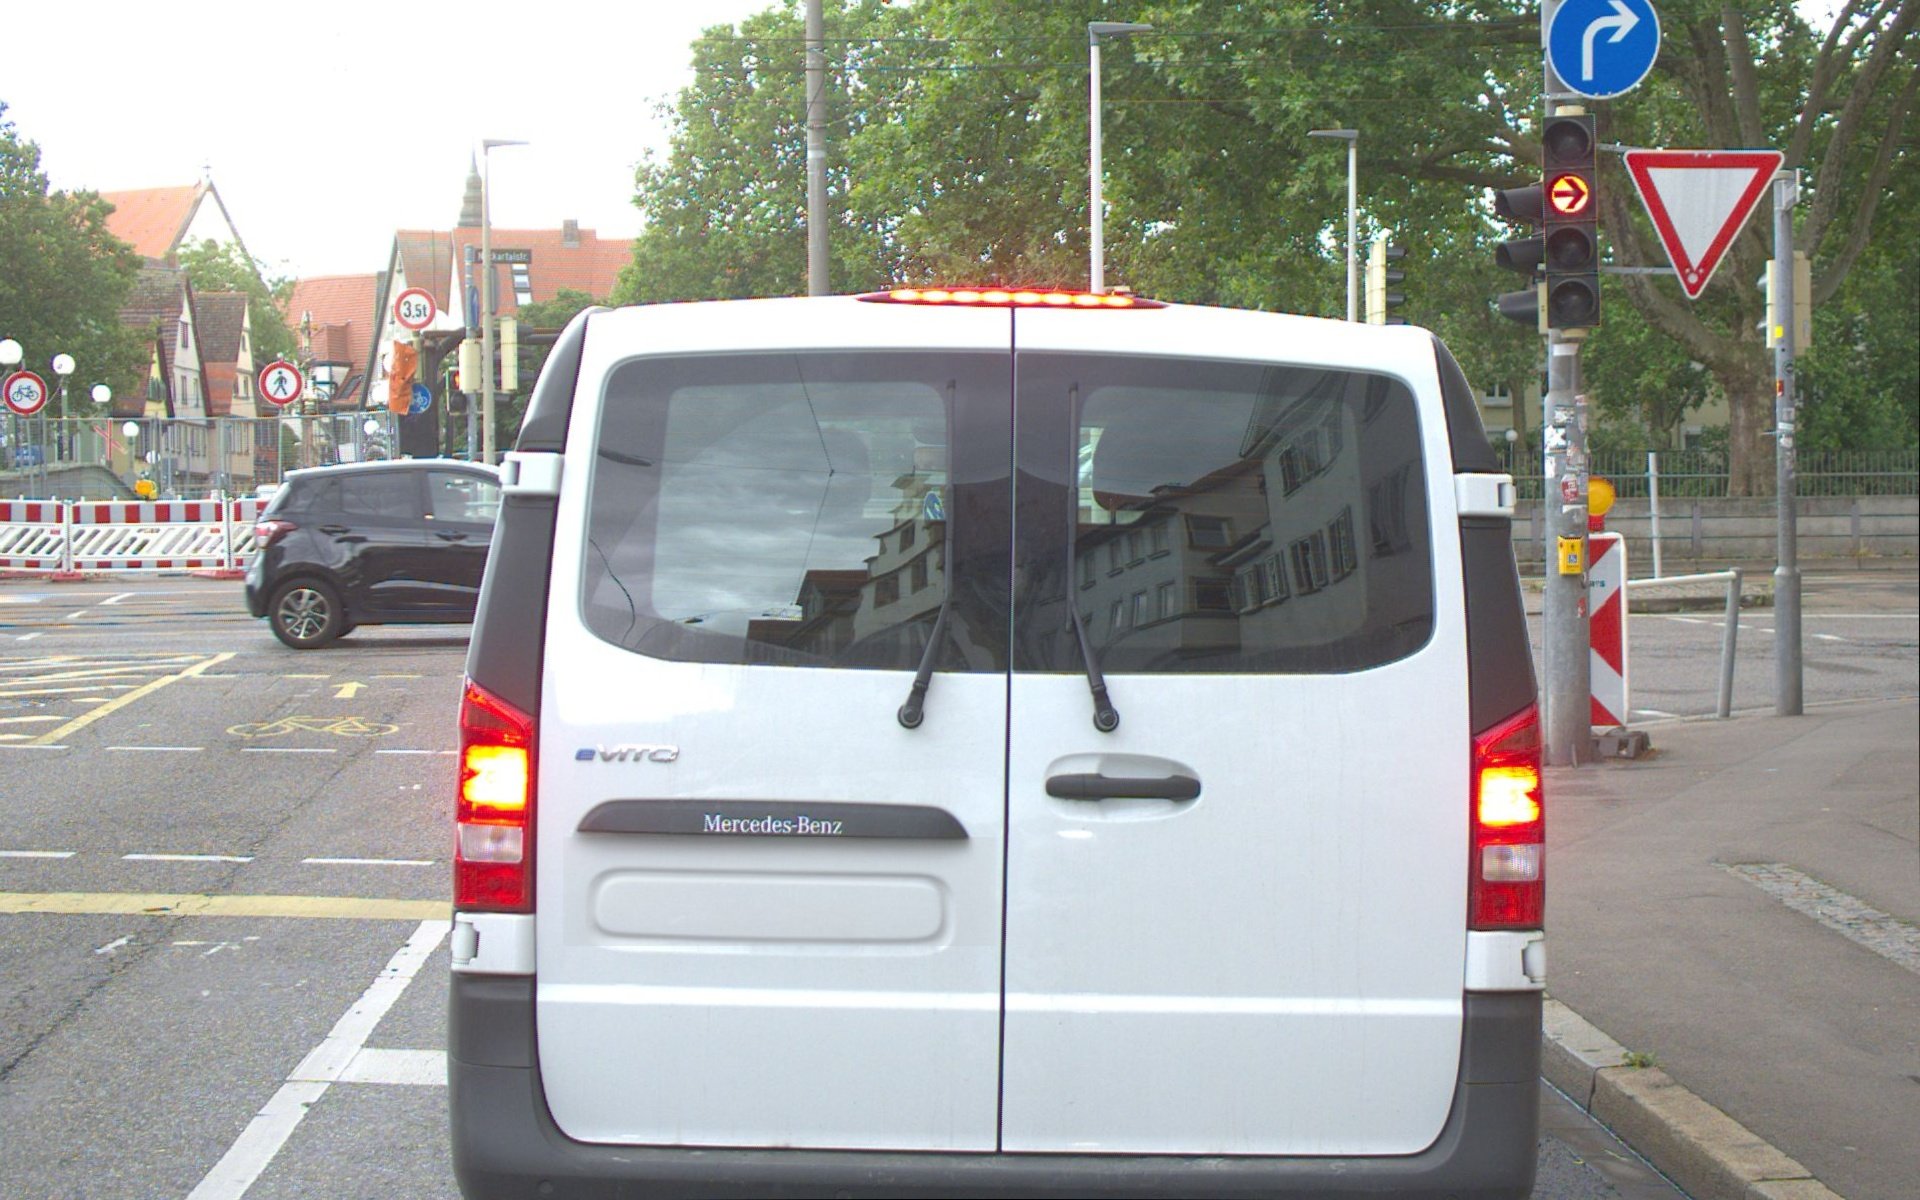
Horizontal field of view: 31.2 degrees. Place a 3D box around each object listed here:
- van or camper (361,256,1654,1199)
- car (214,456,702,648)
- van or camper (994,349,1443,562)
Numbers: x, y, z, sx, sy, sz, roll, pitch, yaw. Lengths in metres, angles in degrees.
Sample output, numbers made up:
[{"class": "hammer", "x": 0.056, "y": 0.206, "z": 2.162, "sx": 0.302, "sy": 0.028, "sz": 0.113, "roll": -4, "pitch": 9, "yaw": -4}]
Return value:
[{"class": "van or camper", "x": -0.067, "y": 0.347, "z": 7.426, "sx": 1.937, "sy": 1.918, "sz": 4.442, "roll": 1, "pitch": 3, "yaw": -4}, {"class": "car", "x": -4.010, "y": -0.416, "z": 27.963, "sx": 3.744, "sy": 1.423, "sz": 1.829, "roll": -1, "pitch": 3, "yaw": -3}, {"class": "van or camper", "x": 3.294, "y": -1.846, "z": 44.404, "sx": 5.390, "sy": 2.505, "sz": 2.037, "roll": -2, "pitch": 0, "yaw": -8}]
